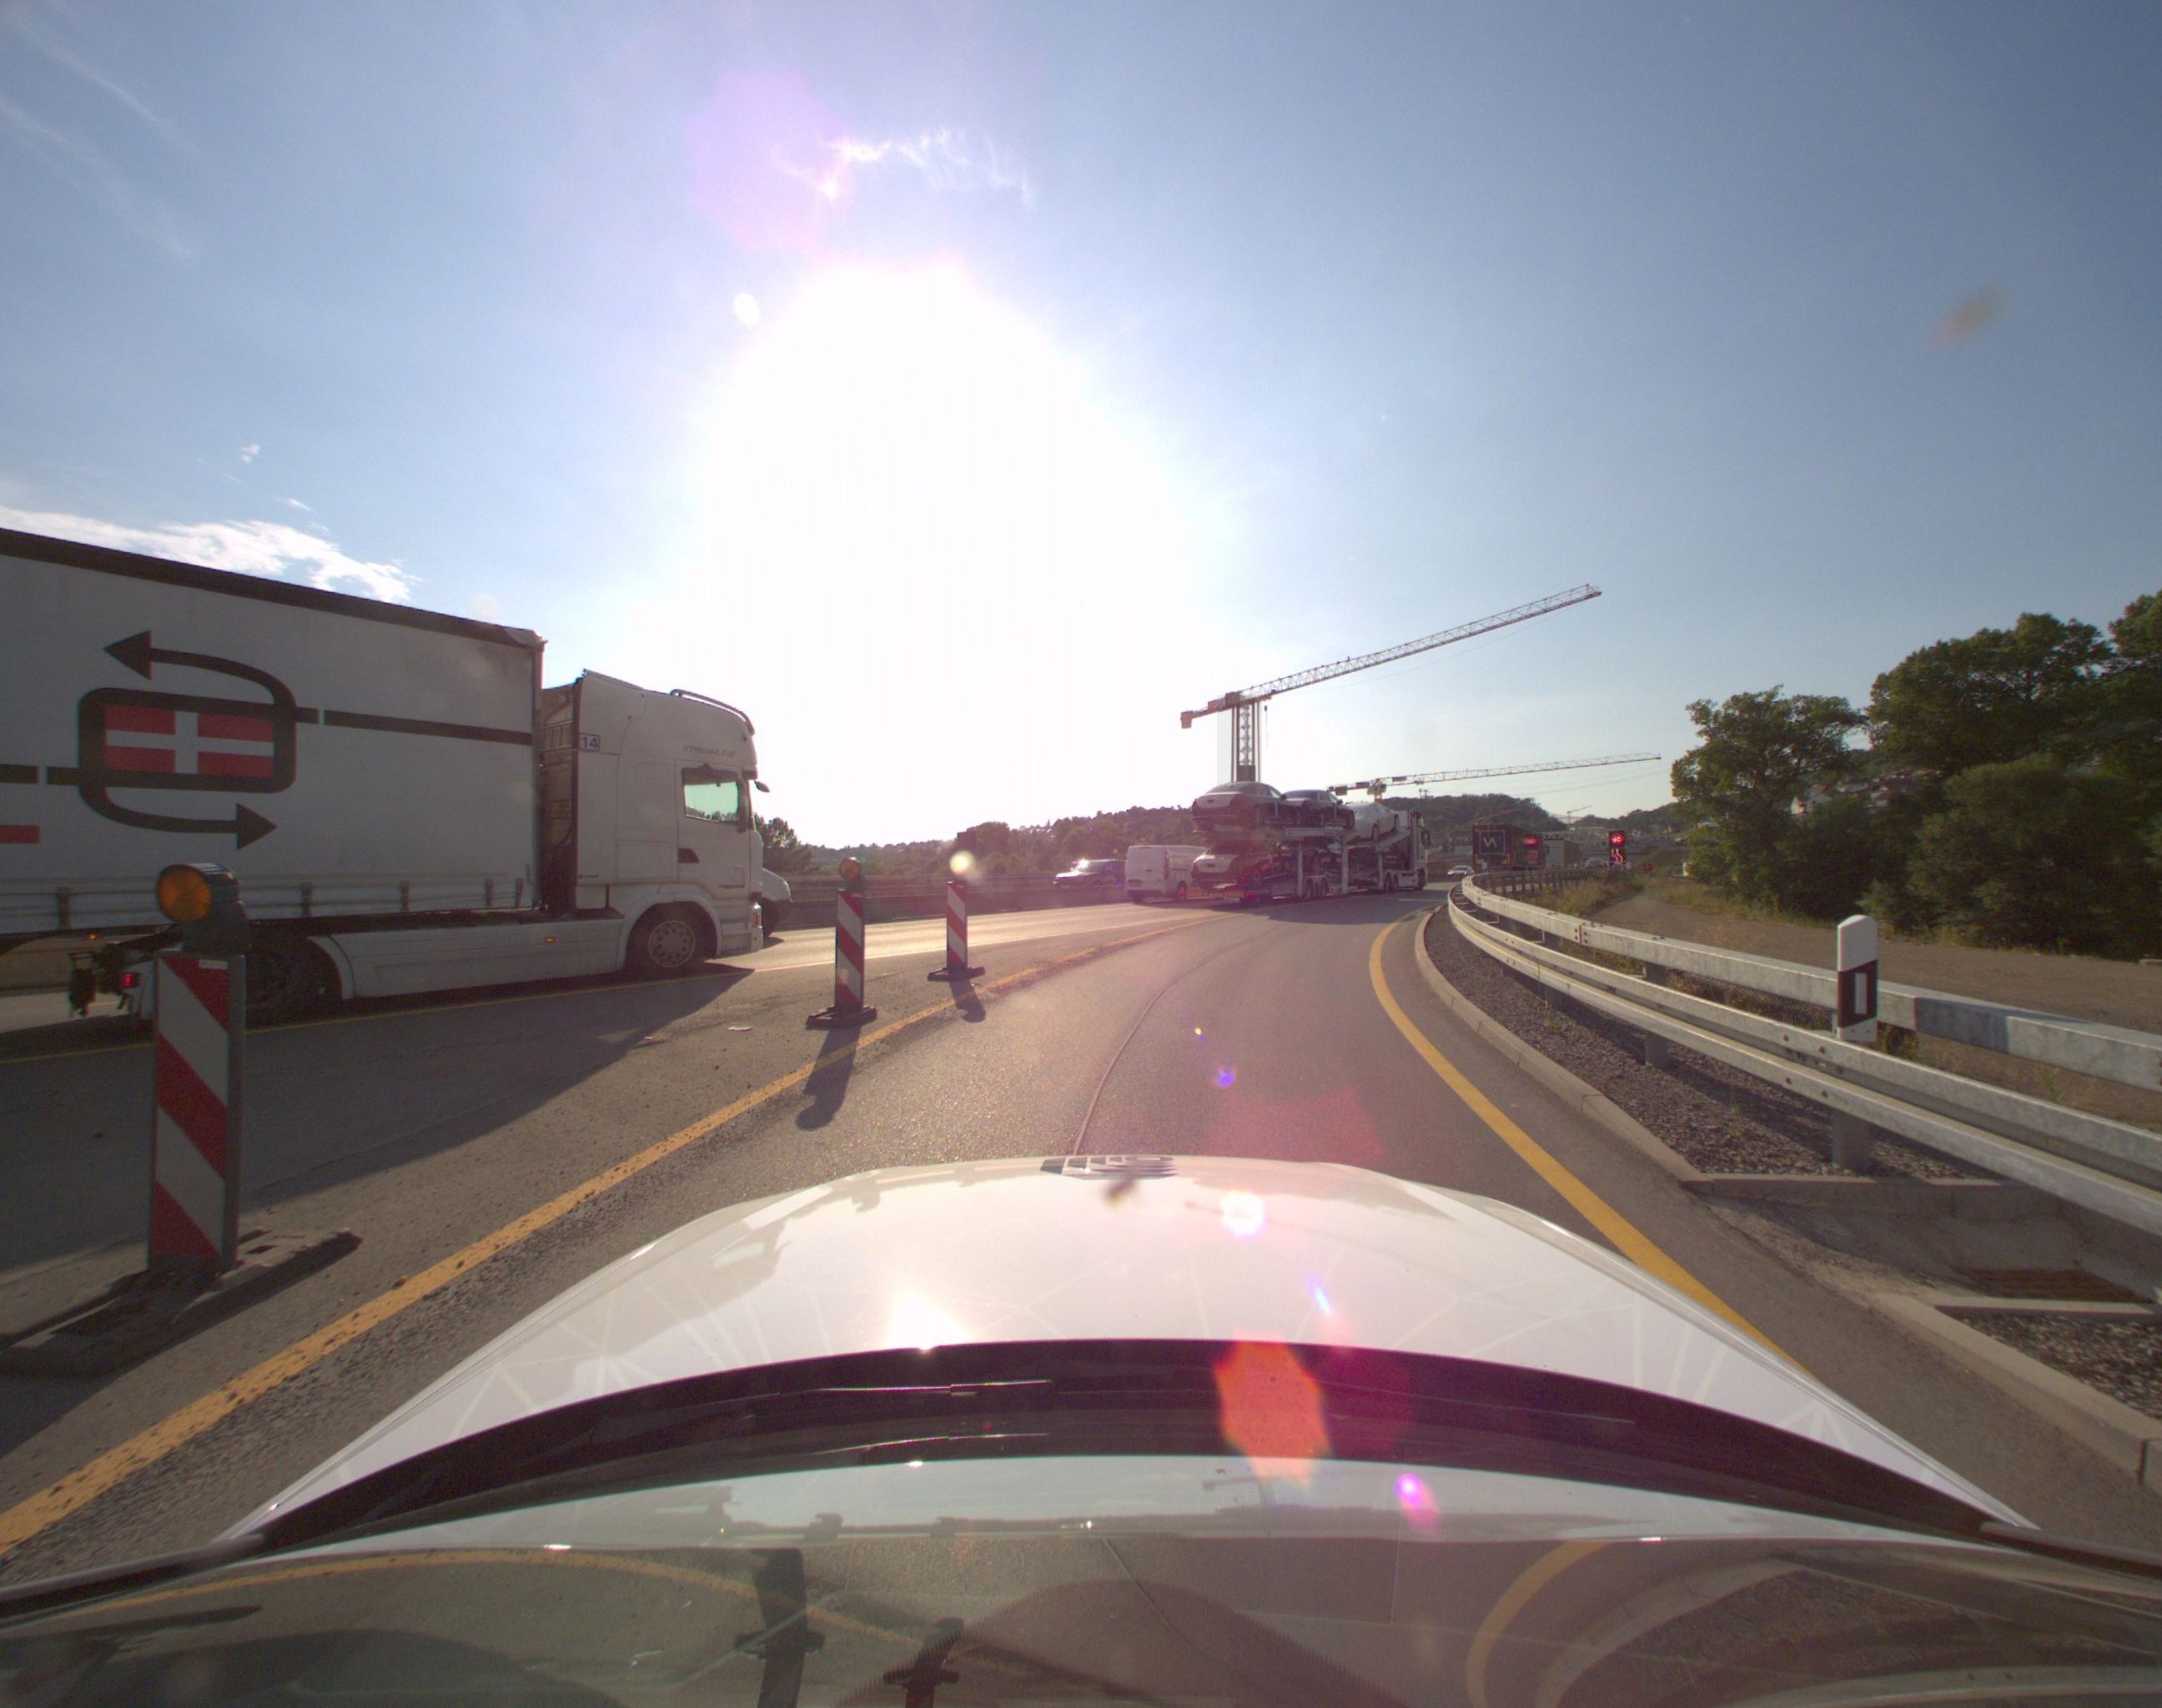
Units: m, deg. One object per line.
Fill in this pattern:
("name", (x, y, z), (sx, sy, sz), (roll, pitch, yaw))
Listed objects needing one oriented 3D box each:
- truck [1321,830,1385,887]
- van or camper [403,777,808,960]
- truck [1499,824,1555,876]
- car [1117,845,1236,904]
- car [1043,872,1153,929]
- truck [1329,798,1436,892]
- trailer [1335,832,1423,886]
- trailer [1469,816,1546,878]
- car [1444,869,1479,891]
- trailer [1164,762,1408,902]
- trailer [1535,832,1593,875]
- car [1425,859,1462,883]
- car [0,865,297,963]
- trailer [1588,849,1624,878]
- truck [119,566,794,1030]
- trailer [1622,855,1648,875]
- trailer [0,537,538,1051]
("truck", (20.955, 0.401, 62.629), (2.602, 4.067, 6.168), (-4, -4, 37))
("van or camper", (-8.055, 0.278, 14.577), (1.974, 2.620, 5.940), (-2, -2, 36))
("truck", (36.327, -0.237, 66.221), (2.857, 3.997, 6.666), (-3, -3, 38))
("car", (3.579, 0.708, 29.628), (2.009, 1.981, 5.010), (0, -1, 38))
("car", (0.730, 1.699, 31.376), (1.871, 1.981, 4.563), (0, -1, 38))
("truck", (14.240, -0.298, 38.133), (2.820, 3.997, 6.666), (-3, -3, 37))
("trailer", (25.220, 0.521, 68.256), (2.602, 4.067, 14.167), (-4, -4, 37))
("trailer", (31.811, -0.372, 60.417), (2.930, 4.092, 10.860), (-4, -3, 38))
("car", (31.214, 2.144, 66.712), (1.812, 1.654, 4.025), (-4, -3, 35))
("trailer", (8.471, -0.456, 30.446), (2.829, 3.997, 15.844), (-3, -3, 37))
("trailer", (49.441, 0.095, 83.128), (3.352, 3.997, 14.837), (-3, -3, 37))
("car", (28.143, 1.328, 63.188), (1.812, 1.752, 4.025), (-4, -4, 35))
("car", (-16.923, 0.945, 13.788), (2.009, 1.500, 5.010), (0, -1, 38))
("trailer", (78.792, 1.523, 122.123), (3.352, 3.997, 14.837), (-3, -3, 37))
("truck", (-6.888, -0.390, 9.939), (2.456, 3.879, 6.049), (-2, -3, 37))
("trailer", (126.216, 2.615, 185.387), (4.057, 4.315, 14.341), (-3, -3, 37))
("trailer", (-11.089, -0.488, 4.208), (2.456, 3.879, 13.716), (-2, -3, 37))
